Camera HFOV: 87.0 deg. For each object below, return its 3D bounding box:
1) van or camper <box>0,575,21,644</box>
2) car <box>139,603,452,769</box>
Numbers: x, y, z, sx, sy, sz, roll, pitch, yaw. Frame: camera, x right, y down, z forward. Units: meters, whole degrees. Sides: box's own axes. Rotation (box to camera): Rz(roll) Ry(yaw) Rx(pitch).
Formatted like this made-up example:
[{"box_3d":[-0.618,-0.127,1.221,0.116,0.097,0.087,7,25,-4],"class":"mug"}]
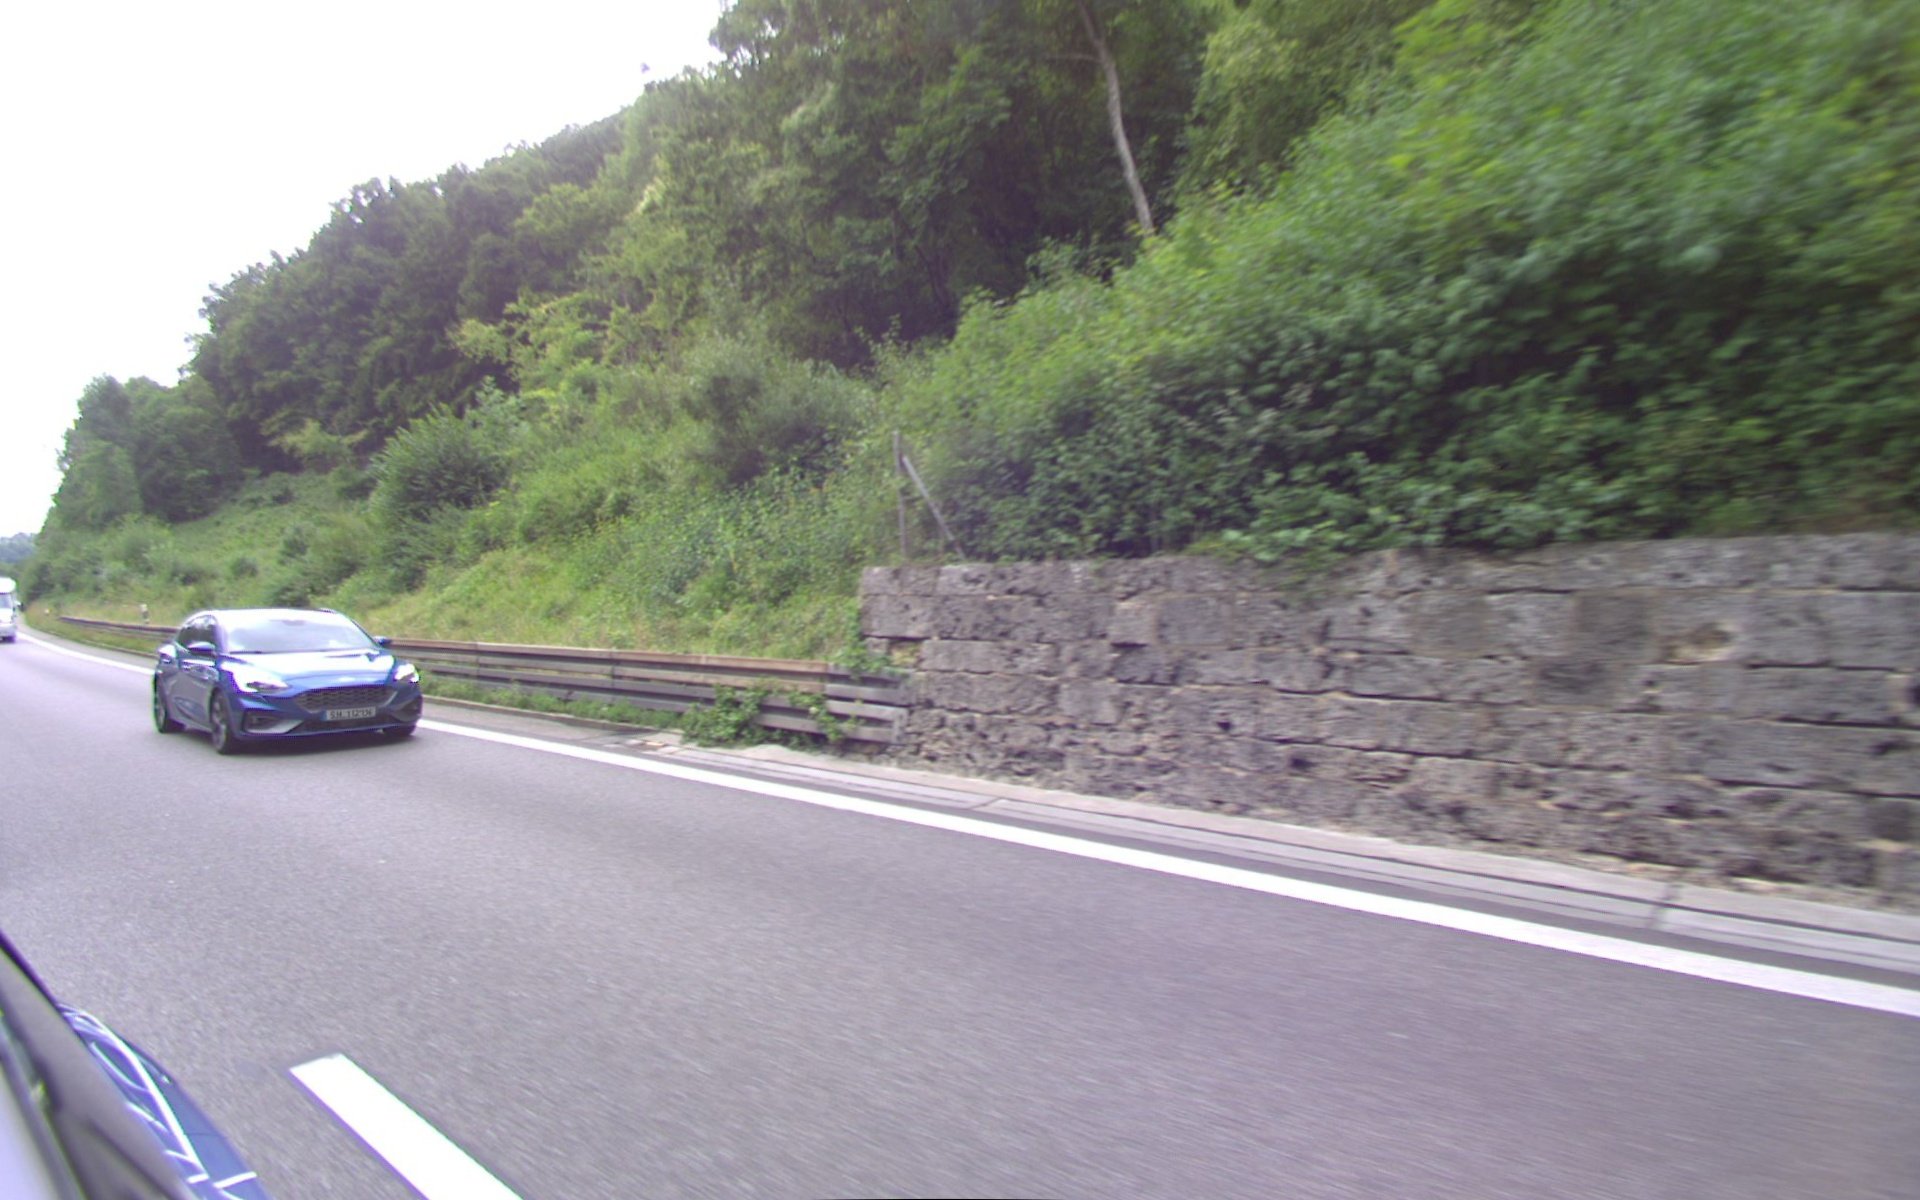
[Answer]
[{"box_3d":[-40.768,0.397,41.880,7.023,2.756,2.241,-1,-1,43],"class":"van or camper"},{"box_3d":[-7.545,0.779,11.290,4.554,1.480,1.816,0,0,42],"class":"car"}]
